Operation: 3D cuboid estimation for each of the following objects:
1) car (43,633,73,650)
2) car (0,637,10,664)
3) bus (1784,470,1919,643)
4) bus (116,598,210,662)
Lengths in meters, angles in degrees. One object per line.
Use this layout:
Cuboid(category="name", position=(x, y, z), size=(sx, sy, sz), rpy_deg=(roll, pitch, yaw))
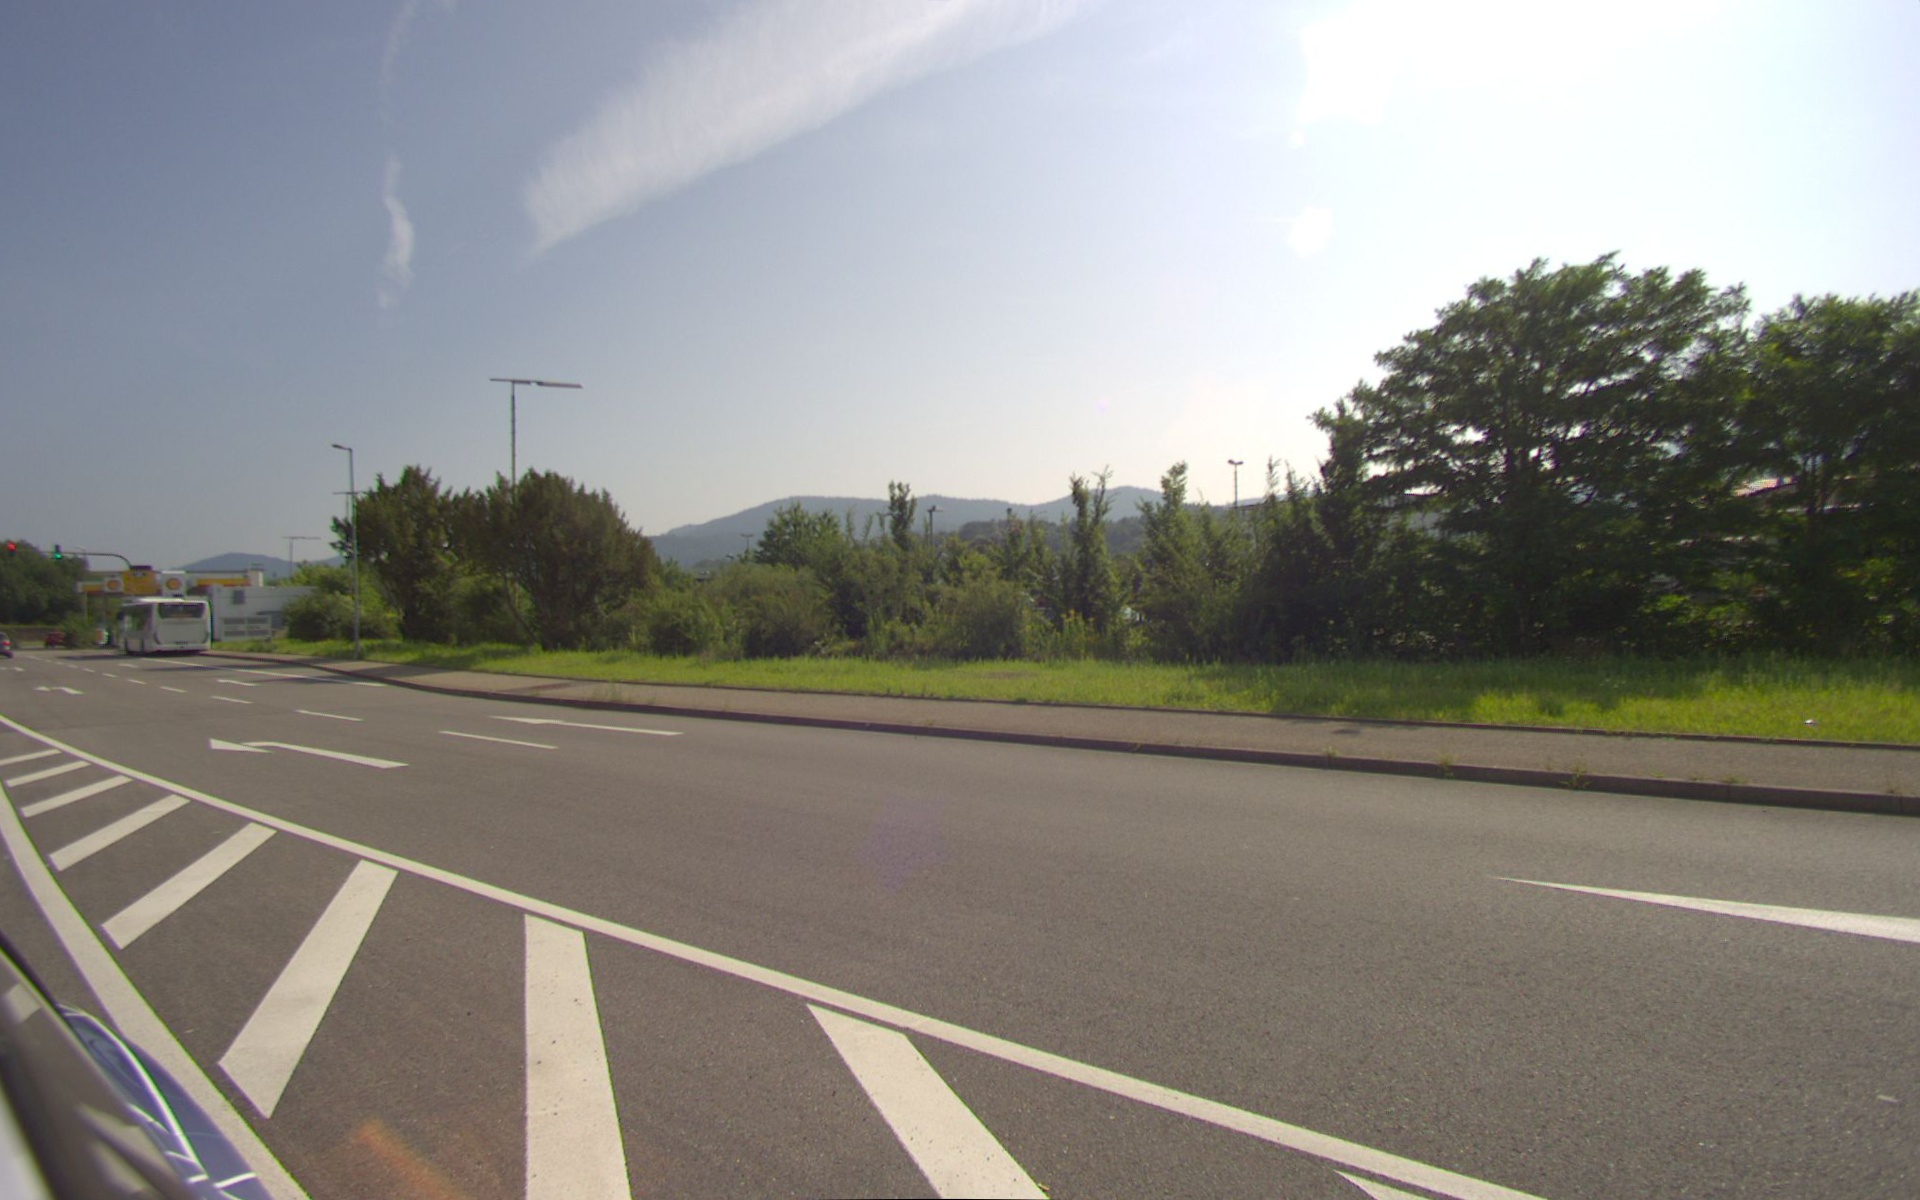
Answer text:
Cuboid(category="car", position=(-88.658, 4.065, 99.455), size=(4.433, 1.503, 1.817), rpy_deg=(-2, -1, 44))
Cuboid(category="car", position=(-53.882, 2.798, 56.039), size=(4.222, 1.484, 1.752), rpy_deg=(-2, -1, 45))
Cuboid(category="bus", position=(21.528, -0.971, 17.088), size=(11.711, 3.147, 3.034), rpy_deg=(-3, -1, 40))
Cuboid(category="bus", position=(-45.451, 1.670, 57.520), size=(11.960, 3.335, 2.591), rpy_deg=(-2, -1, 44))
